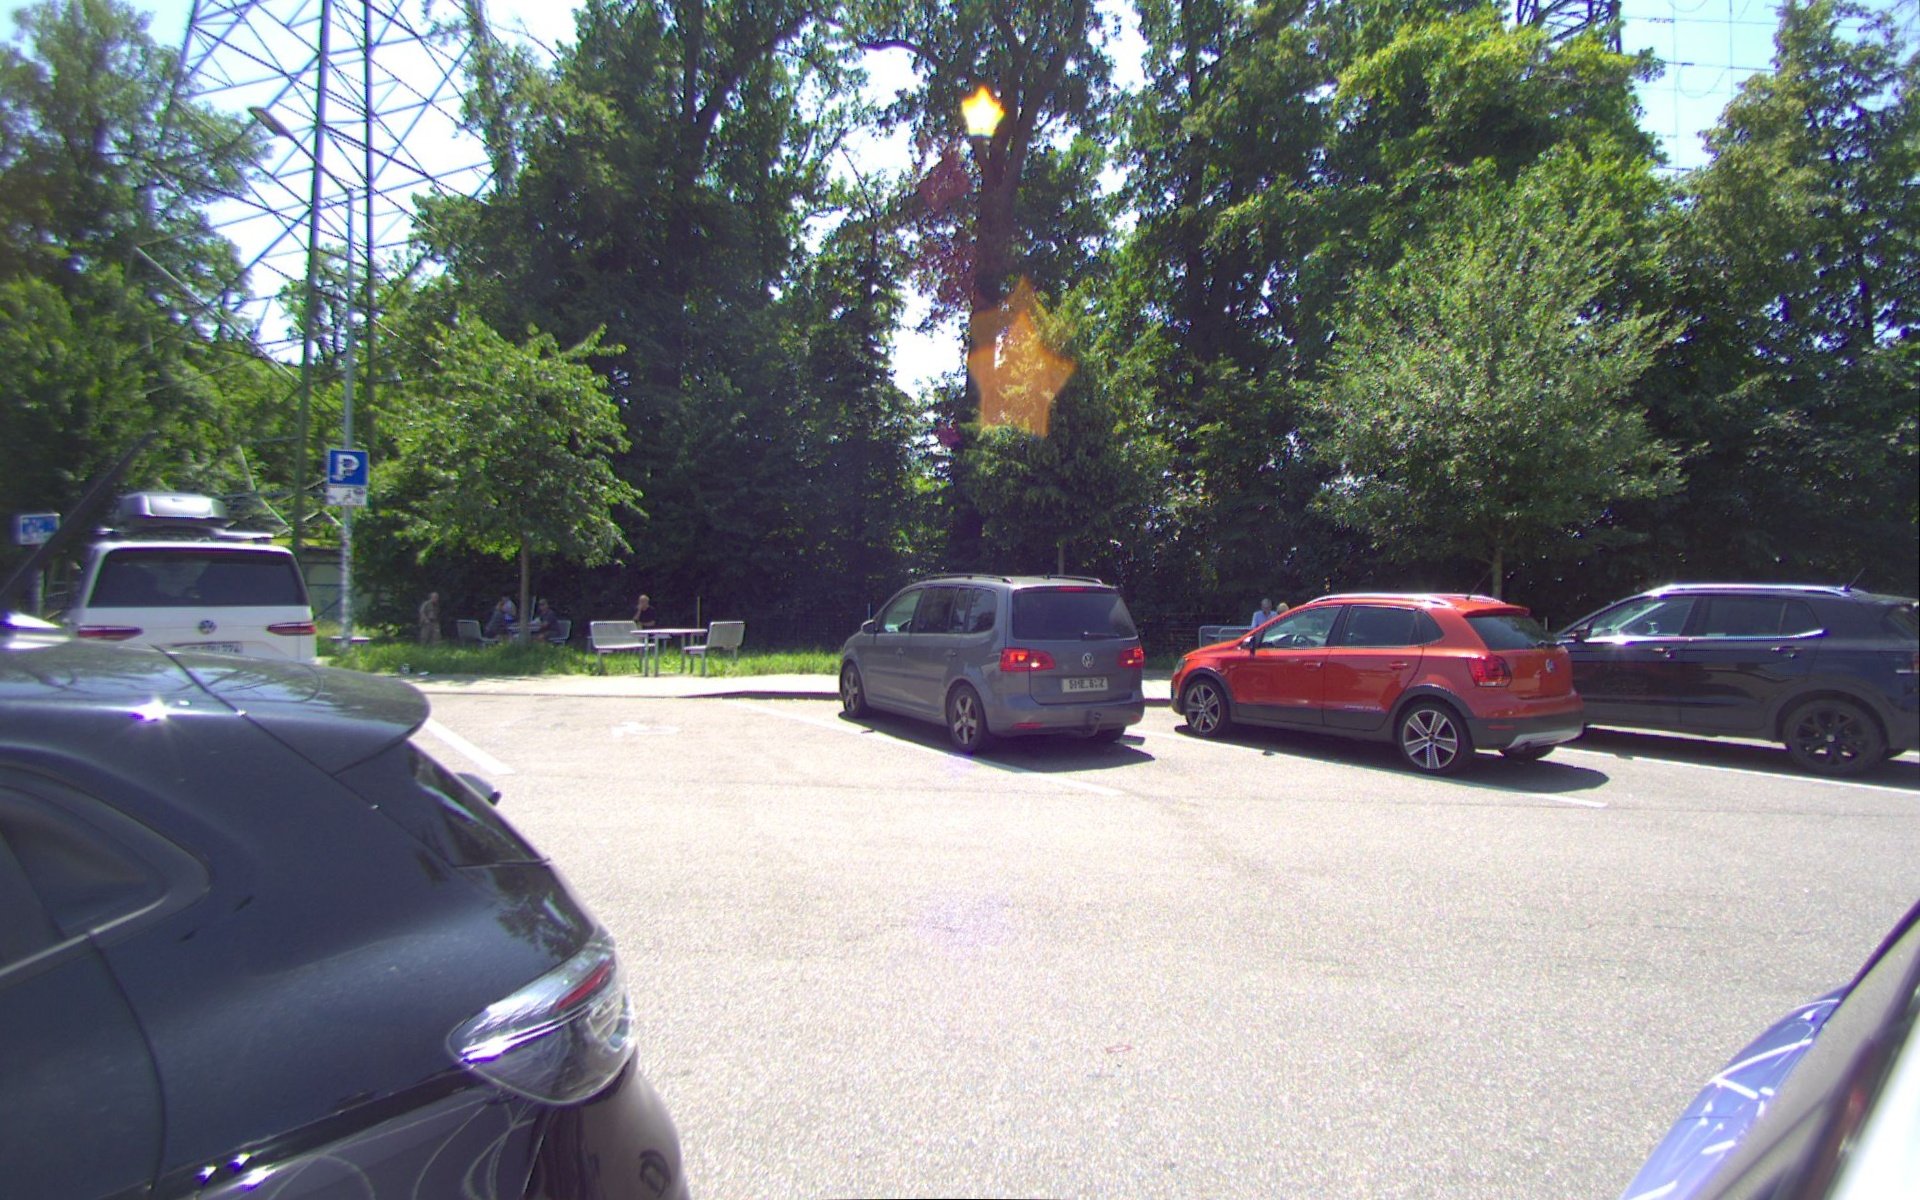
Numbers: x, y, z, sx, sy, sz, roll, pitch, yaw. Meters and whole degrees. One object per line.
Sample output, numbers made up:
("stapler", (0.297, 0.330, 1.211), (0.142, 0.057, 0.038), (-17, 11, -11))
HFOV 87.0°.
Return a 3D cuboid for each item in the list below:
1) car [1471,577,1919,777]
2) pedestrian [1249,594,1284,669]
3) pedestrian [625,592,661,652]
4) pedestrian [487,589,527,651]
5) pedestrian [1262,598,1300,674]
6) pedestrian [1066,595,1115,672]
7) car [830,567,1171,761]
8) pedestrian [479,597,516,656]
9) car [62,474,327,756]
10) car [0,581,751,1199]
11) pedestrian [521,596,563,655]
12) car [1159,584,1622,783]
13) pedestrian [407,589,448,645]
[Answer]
("car", (7.222, 0.574, 9.671), (1.727, 1.566, 3.806), (0, 1, -39))
("pedestrian", (5.751, 0.585, 19.016), (0.495, 1.393, 0.491), (1, -1, 0))
("pedestrian", (-6.628, 0.459, 21.196), (0.550, 1.229, 0.599), (1, -1, -1))
("pedestrian", (-10.965, 0.483, 24.507), (0.722, 1.478, 0.669), (1, -1, -39))
("pedestrian", (5.670, 0.636, 17.892), (0.495, 1.316, 0.491), (1, -1, 0))
("pedestrian", (2.169, 0.558, 16.832), (0.660, 1.235, 0.682), (1, -2, -5))
("car", (0.207, 0.497, 10.549), (1.717, 1.611, 3.961), (0, 1, -30))
("pedestrian", (-10.453, 0.591, 22.873), (0.630, 1.287, 0.579), (1, -1, -39))
("car", (-8.083, 0.085, 10.620), (1.885, 2.353, 4.089), (0, 1, -40))
("car", (-2.143, 0.716, 0.582), (1.615, 1.503, 3.706), (0, -1, 44))
("pedestrian", (-9.733, 0.575, 23.571), (0.722, 1.343, 0.669), (1, -1, -39))
("car", (3.843, 0.602, 9.647), (1.604, 1.476, 3.810), (0, 1, -34))
("pedestrian", (-13.438, 0.423, 25.552), (0.603, 1.391, 0.700), (0, -1, 33))
